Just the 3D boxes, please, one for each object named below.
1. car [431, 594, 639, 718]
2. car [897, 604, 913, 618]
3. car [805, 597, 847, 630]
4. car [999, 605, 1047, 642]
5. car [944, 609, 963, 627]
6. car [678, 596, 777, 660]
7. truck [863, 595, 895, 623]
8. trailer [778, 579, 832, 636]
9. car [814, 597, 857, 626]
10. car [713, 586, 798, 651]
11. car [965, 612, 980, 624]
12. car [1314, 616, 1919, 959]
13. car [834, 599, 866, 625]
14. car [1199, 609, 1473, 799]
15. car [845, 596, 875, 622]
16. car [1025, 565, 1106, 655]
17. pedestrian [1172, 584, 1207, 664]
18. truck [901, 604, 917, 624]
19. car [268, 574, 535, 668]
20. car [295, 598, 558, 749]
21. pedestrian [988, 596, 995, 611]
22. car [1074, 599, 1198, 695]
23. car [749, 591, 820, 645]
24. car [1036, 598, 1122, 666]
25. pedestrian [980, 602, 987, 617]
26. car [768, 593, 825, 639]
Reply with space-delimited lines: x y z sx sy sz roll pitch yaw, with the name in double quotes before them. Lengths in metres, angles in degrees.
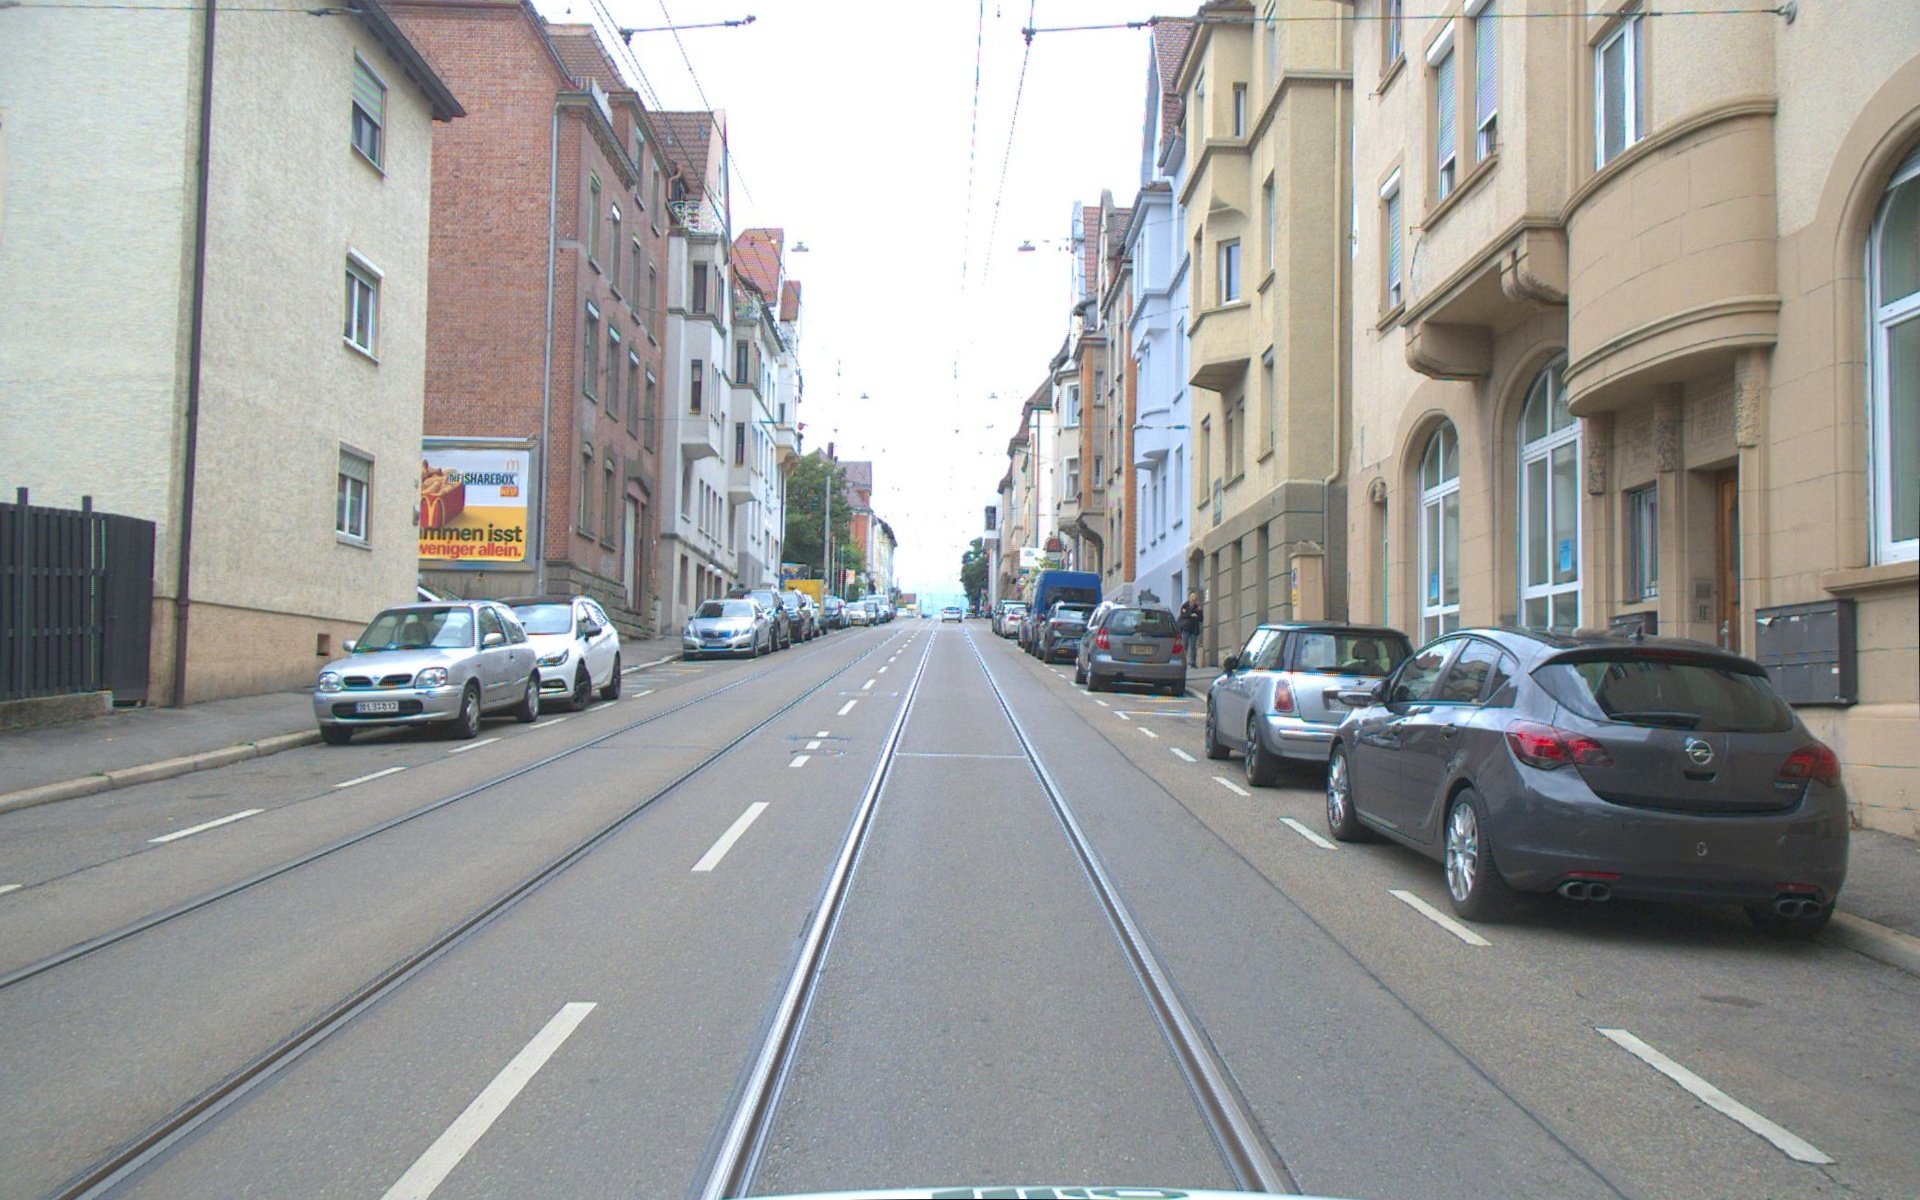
"car" -5.706 0.681 22.784 1.791 1.454 4.625 -3 0 -3
"car" -6.992 1.389 209.747 1.817 1.635 4.296 1 0 -1
"car" -6.273 0.635 77.584 1.662 1.494 3.023 -1 0 0
"car" 2.647 0.981 70.153 1.715 1.415 4.306 3 0 -2
"car" -0.611 1.617 148.929 1.638 1.539 3.796 1 0 -2
"car" -5.817 0.661 41.881 1.790 1.454 4.839 -1 0 0
"truck" -6.908 0.768 141.979 2.233 2.226 8.025 1 0 1
"trailer" -6.148 0.286 66.030 1.713 2.193 4.071 -1 0 0
"car" -6.226 0.556 82.910 1.743 1.381 4.292 1 0 1
"car" -5.810 0.487 47.490 1.790 1.748 4.913 -1 0 0
"car" 1.710 2.538 228.054 1.953 1.590 4.289 1 0 0
"car" 3.395 0.854 9.389 1.802 1.427 4.166 3 -1 -1
"car" -7.016 0.751 105.488 1.662 1.583 3.850 1 0 1
"car" 3.352 0.867 15.411 1.660 1.428 3.667 3 0 0
"car" -7.067 0.663 117.062 1.708 1.766 4.519 -1 0 1
"car" 3.004 0.301 48.234 1.953 2.418 5.055 1 -1 -1
"pedestrian" 5.085 0.533 36.661 0.530 1.711 0.515 -3 -3 -9
"truck" -8.137 2.293 264.075 2.255 3.090 9.032 1 -1 -1
"car" -11.913 0.428 35.577 5.072 1.850 1.939 -1 0 -5
"car" -5.713 0.718 18.171 1.568 1.392 3.807 -3 0 0
"pedestrian" 3.656 0.416 192.875 0.775 1.696 0.799 1 -1 2
"car" 3.175 0.812 30.556 1.790 1.545 4.027 3 0 0
"car" -5.885 0.569 55.896 1.835 1.693 4.891 -1 0 0
"car" 3.028 0.798 42.792 1.744 1.557 4.191 4 0 -1
"pedestrian" 2.698 1.119 192.837 0.775 1.696 0.799 1 -1 2
"car" -6.087 0.565 61.844 1.662 1.621 4.268 -1 0 0
